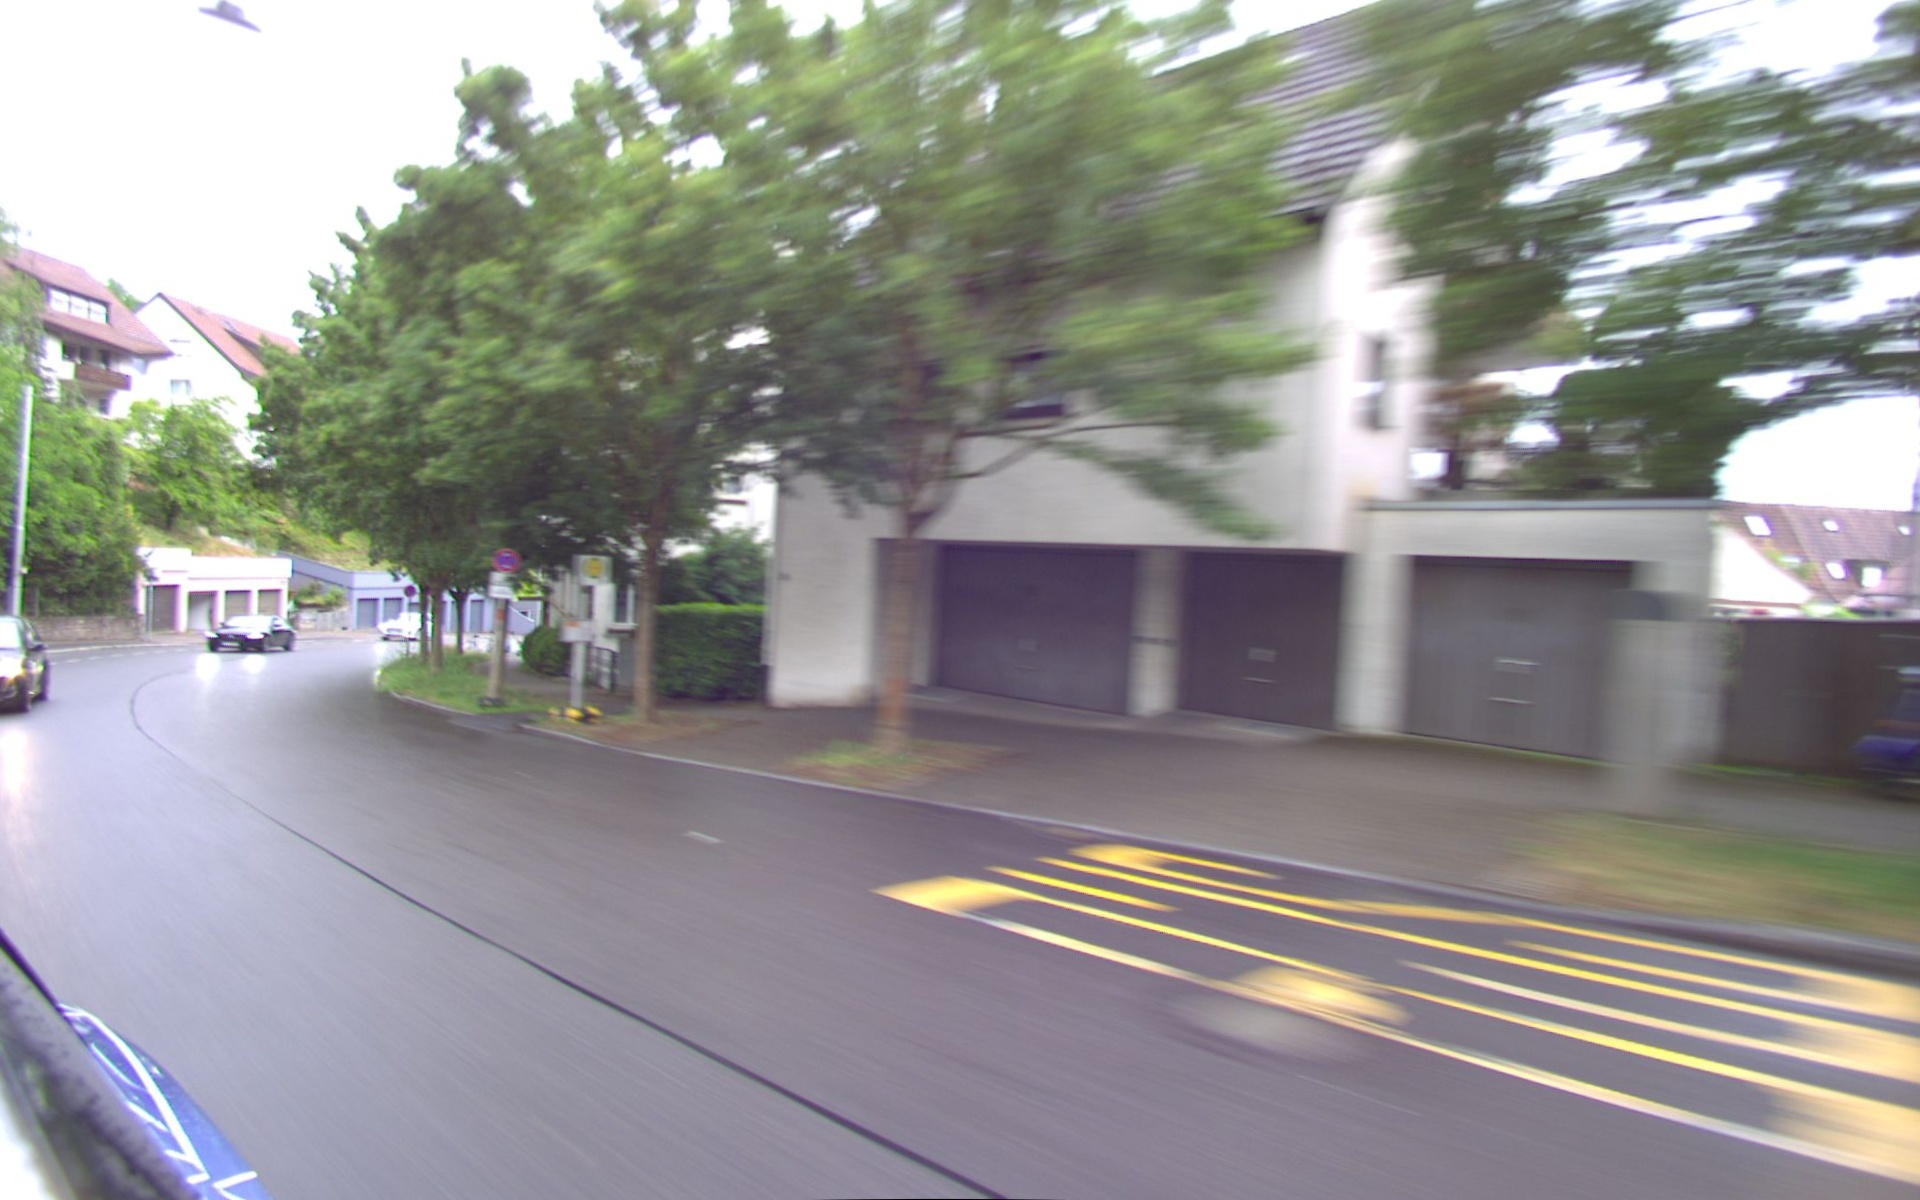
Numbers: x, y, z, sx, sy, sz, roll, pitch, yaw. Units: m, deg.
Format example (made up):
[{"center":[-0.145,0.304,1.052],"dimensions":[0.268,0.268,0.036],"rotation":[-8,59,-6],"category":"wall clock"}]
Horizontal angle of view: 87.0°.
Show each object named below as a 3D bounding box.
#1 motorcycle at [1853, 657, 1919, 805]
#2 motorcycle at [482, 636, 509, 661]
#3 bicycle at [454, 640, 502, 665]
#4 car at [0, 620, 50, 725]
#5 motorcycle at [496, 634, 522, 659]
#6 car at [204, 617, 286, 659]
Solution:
[{"center":[8.309,1.052,8.077],"dimensions":[1.696,1.168,0.608],"rotation":[-3,-2,38],"category":"motorcycle"},{"center":[-23.131,2.413,50.407],"dimensions":[0.552,1.213,1.396],"rotation":[2,-3,5],"category":"motorcycle"},{"center":[-22.551,2.464,47.386],"dimensions":[1.935,1.068,0.756],"rotation":[4,-3,-22],"category":"bicycle"},{"center":[-15.589,1.049,15.824],"dimensions":[1.672,1.475,4.008],"rotation":[4,-3,-38],"category":"car"},{"center":[-22.544,2.321,50.631],"dimensions":[0.547,1.237,1.303],"rotation":[2,-3,5],"category":"motorcycle"},{"center":[-27.414,1.461,38.929],"dimensions":[1.965,1.522,4.224],"rotation":[2,-3,-28],"category":"car"}]
